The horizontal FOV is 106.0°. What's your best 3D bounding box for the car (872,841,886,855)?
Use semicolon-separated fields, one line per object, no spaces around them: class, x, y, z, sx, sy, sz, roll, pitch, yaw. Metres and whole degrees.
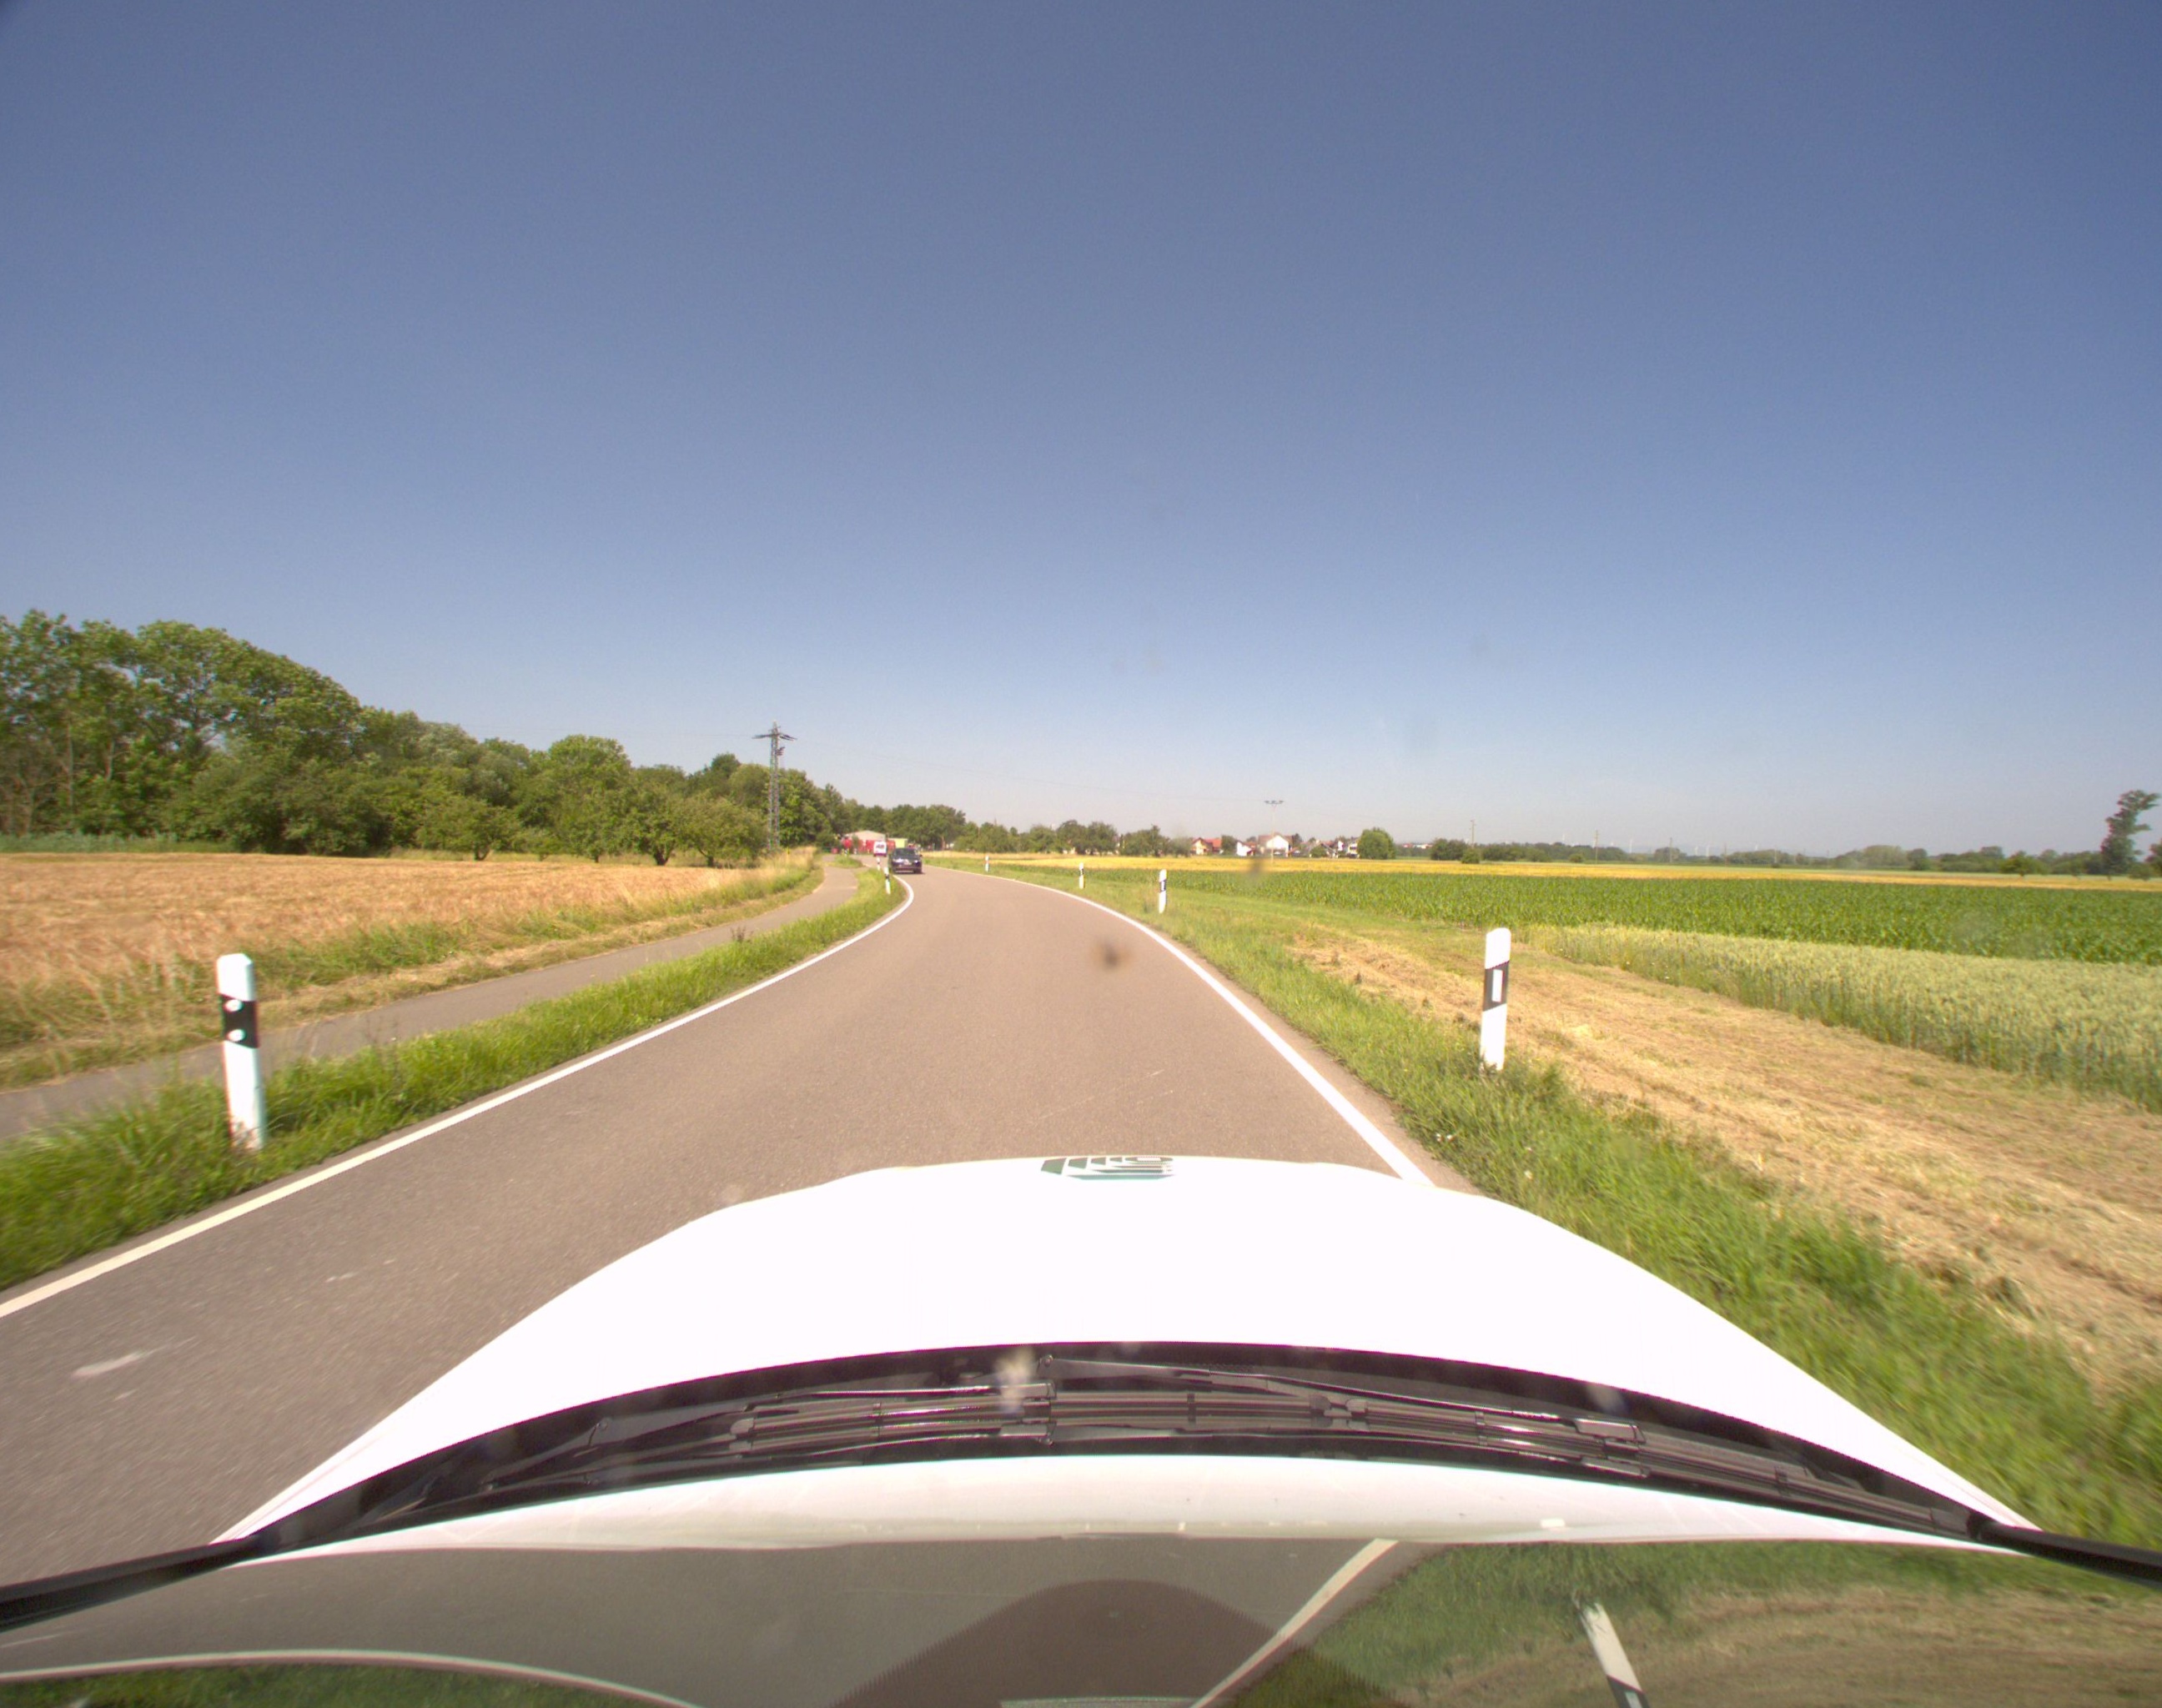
car;-33.073;-0.938;133.133;1.997;2.266;4.701;1;0;-15

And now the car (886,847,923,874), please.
car;-11.507;0.376;52.979;1.893;1.714;3.987;0;0;-20
